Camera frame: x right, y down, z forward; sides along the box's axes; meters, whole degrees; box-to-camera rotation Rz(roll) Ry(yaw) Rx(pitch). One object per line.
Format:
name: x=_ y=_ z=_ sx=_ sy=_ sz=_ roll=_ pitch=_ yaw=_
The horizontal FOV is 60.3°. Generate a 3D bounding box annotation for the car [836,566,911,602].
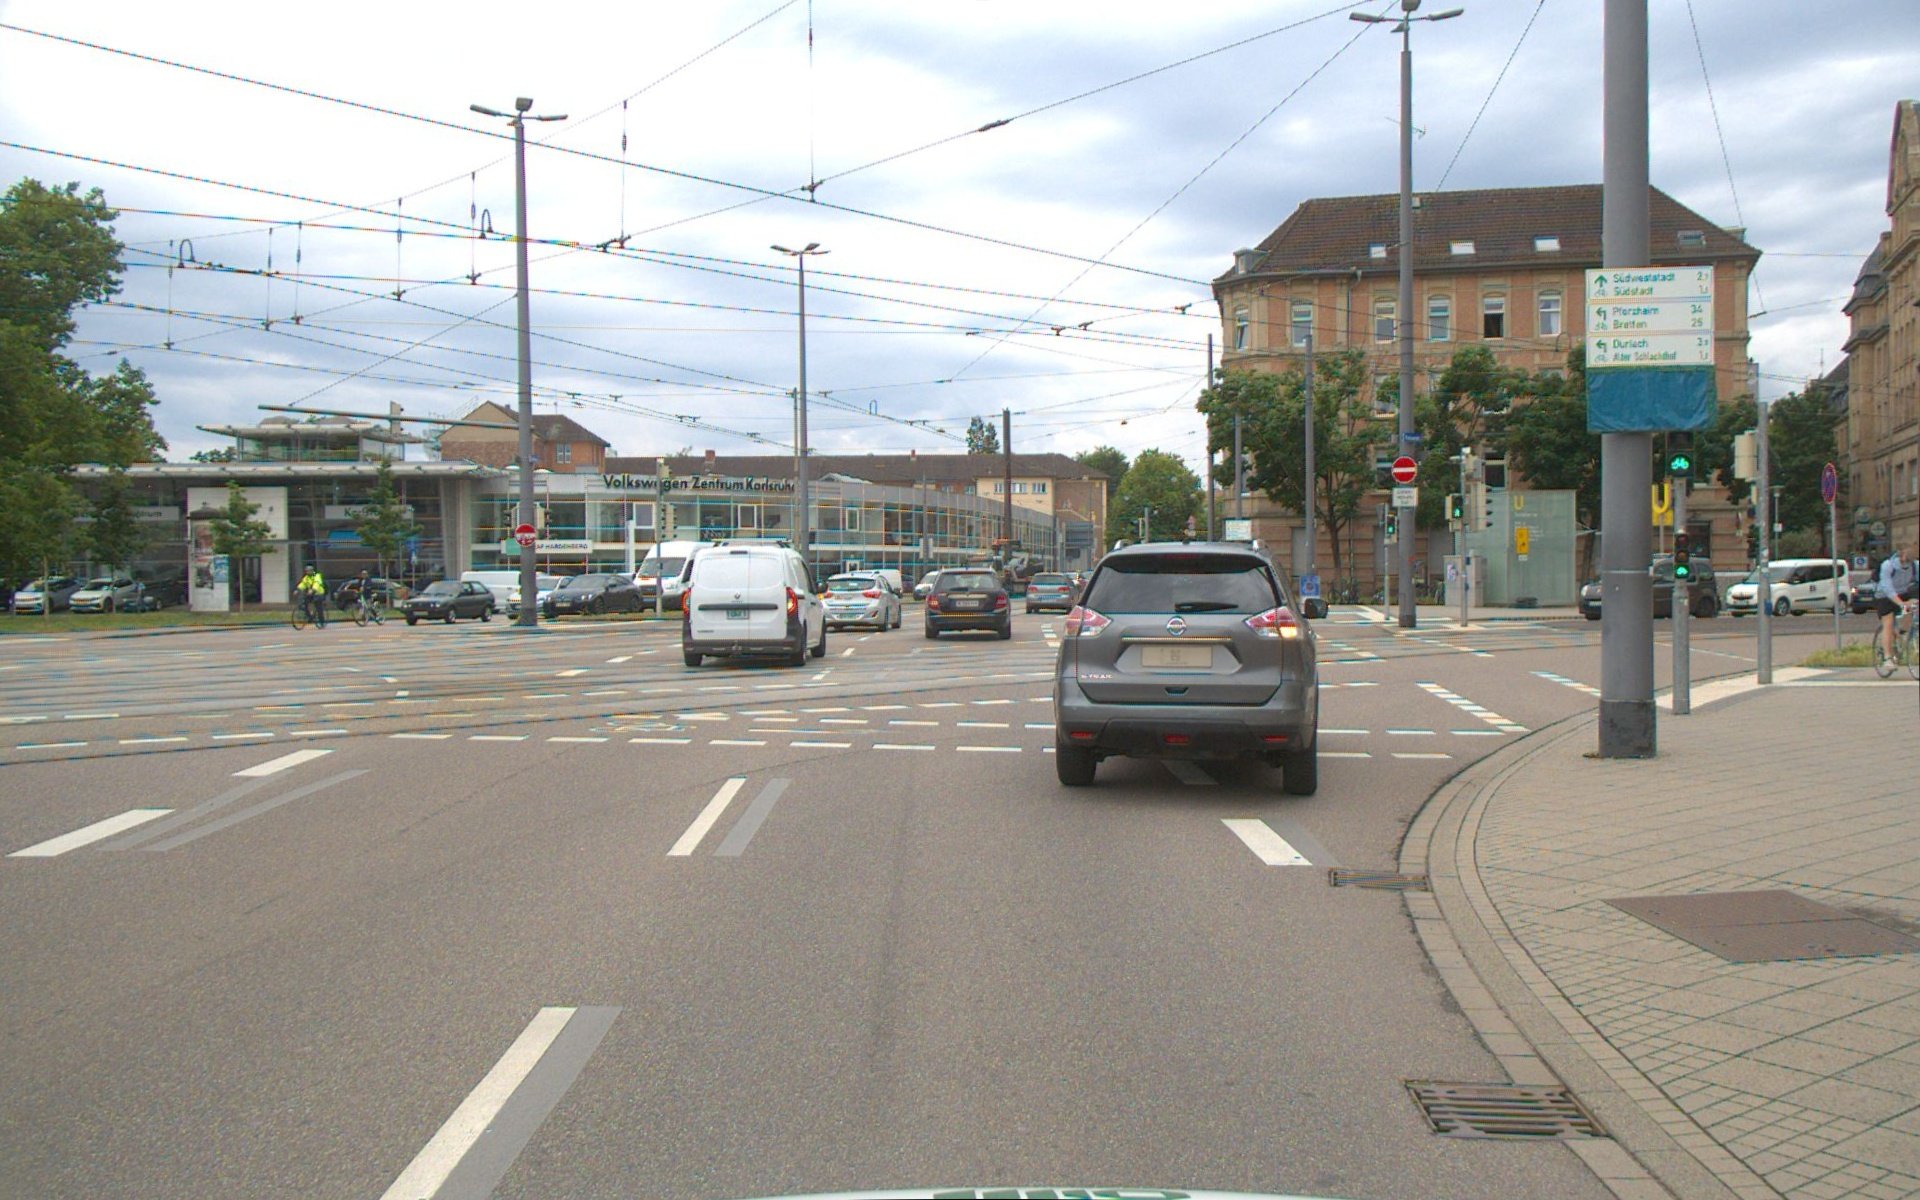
car: x=-4.659 y=-0.881 z=90.329 sx=2.112 sy=1.889 sz=5.448 roll=0 pitch=1 yaw=21

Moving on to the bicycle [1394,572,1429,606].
bicycle: x=19.079 y=-0.463 z=69.856 sx=0.938 sy=1.378 sz=3.119 roll=1 pitch=0 yaw=25

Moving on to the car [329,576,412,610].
car: x=-25.615 y=-0.307 z=72.019 sx=1.600 sy=1.445 sz=3.741 roll=0 pitch=1 yaw=14

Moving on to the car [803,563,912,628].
car: x=-2.533 y=-0.119 z=41.900 sx=1.813 sy=1.534 sz=4.004 roll=1 pitch=0 yaw=11

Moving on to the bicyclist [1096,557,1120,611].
bicyclist: x=4.799 y=-0.523 z=53.689 sx=0.673 sy=1.737 sz=0.798 roll=0 pitch=0 yaw=0

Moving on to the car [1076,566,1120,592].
car: x=10.398 y=-1.583 z=124.225 sx=1.953 sy=1.871 sz=4.522 roll=0 pitch=1 yaw=23

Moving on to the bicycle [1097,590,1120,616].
bicycle: x=4.811 y=0.080 z=53.696 sx=0.606 sy=0.807 sz=1.592 roll=0 pitch=1 yaw=0

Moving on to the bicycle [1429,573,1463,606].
bicycle: x=20.519 y=-0.442 z=69.761 sx=0.938 sy=1.378 sz=3.119 roll=1 pitch=0 yaw=25

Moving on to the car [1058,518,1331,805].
car: x=1.862 y=0.357 z=12.390 sx=1.712 sy=1.786 sz=3.927 roll=0 pitch=1 yaw=11

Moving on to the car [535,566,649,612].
car: x=-12.107 y=-0.383 z=54.707 sx=1.951 sy=1.445 sz=4.666 roll=0 pitch=1 yaw=11

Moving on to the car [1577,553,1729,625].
car: x=19.332 y=-0.317 z=46.096 sx=4.325 sy=1.933 sz=1.678 roll=0 pitch=0 yaw=-30

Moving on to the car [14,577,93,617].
car: x=-48.078 y=-0.193 z=87.824 sx=1.953 sy=2.049 sz=4.000 roll=1 pitch=0 yaw=0

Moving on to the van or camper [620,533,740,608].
van or camper: x=-10.425 y=-1.065 z=62.125 sx=2.363 sy=2.656 sz=6.057 roll=1 pitch=0 yaw=12

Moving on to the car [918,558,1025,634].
car: x=0.304 y=-0.102 z=33.920 sx=1.952 sy=1.445 sz=4.002 roll=0 pitch=1 yaw=4

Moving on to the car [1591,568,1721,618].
car: x=21.443 y=-0.228 z=50.928 sx=3.944 sy=1.467 sz=1.678 roll=0 pitch=0 yaw=-30

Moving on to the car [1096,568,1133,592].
car: x=12.209 y=-1.560 z=130.807 sx=1.952 sy=1.871 sz=4.525 roll=0 pitch=1 yaw=18

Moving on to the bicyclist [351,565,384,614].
bicyclist: x=-18.632 y=-0.336 z=52.057 sx=0.554 sy=1.534 sz=0.857 roll=0 pitch=2 yaw=16

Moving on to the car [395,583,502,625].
car: x=-16.161 y=0.116 z=52.465 sx=1.650 sy=1.268 sz=3.741 roll=0 pitch=1 yaw=11

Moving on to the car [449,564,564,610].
car: x=-21.018 y=-0.602 z=76.654 sx=4.664 sy=2.049 sz=2.123 roll=1 pitch=0 yaw=12

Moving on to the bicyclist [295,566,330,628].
bicyclist: x=-19.276 y=-0.097 z=49.244 sx=0.614 sy=1.835 sz=0.798 roll=0 pitch=1 yaw=16

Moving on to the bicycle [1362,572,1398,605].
bicycle: x=17.861 y=-0.483 z=70.257 sx=0.938 sy=1.378 sz=3.119 roll=1 pitch=0 yaw=25

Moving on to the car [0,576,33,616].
car: x=-51.124 y=-0.233 z=87.408 sx=1.953 sy=2.049 sz=4.000 roll=1 pitch=0 yaw=0

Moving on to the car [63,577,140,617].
car: x=-45.609 y=-0.187 z=87.956 sx=1.953 sy=2.049 sz=4.000 roll=1 pitch=0 yaw=0

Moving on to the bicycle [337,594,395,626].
bicycle: x=-18.670 y=0.306 z=52.047 sx=0.507 sy=0.942 sz=2.225 roll=0 pitch=1 yaw=15

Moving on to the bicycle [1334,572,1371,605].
bicycle: x=16.785 y=-0.501 z=70.630 sx=0.938 sy=1.378 sz=3.119 roll=1 pitch=0 yaw=25

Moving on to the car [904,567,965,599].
car: x=-1.490 y=-1.002 z=97.895 sx=1.953 sy=1.871 sz=4.522 roll=0 pitch=1 yaw=23

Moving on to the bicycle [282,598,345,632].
bicycle: x=-19.304 y=0.426 z=49.415 sx=0.507 sy=0.946 sz=2.225 roll=0 pitch=1 yaw=15

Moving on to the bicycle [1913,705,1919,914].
bicycle: x=4.372 y=0.877 z=5.904 sx=0.546 sy=0.863 sz=2.070 roll=0 pitch=1 yaw=-7

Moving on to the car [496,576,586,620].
car: x=-14.554 y=-0.091 z=57.651 sx=1.600 sy=1.445 sz=3.741 roll=0 pitch=1 yaw=11

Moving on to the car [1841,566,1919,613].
car: x=32.659 y=-0.358 z=57.221 sx=4.240 sy=1.561 sz=1.851 roll=-1 pitch=-1 yaw=-29

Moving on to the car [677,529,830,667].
car: x=-3.119 y=-0.057 z=25.769 sx=1.873 sy=1.974 sz=4.131 roll=0 pitch=1 yaw=0

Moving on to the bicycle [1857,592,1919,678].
bicycle: x=11.669 y=0.421 z=20.674 sx=0.658 sy=0.949 sz=1.855 roll=-3 pitch=1 yaw=31

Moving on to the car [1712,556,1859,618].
car: x=27.233 y=-0.453 z=54.517 sx=5.027 sy=1.949 sz=1.851 roll=-1 pitch=1 yaw=-29

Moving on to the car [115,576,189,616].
car: x=-42.820 y=-0.247 z=87.768 sx=1.953 sy=2.049 sz=4.000 roll=1 pitch=0 yaw=0

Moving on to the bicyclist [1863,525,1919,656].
bicyclist: x=11.694 y=-0.129 z=20.634 sx=0.678 sy=1.587 sz=0.924 roll=-2 pitch=1 yaw=31

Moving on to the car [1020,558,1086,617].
car: x=3.442 y=-0.458 z=60.750 sx=1.951 sy=2.049 sz=4.004 roll=1 pitch=0 yaw=10

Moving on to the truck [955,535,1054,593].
truck: x=2.997 y=-2.279 z=107.381 sx=2.739 sy=3.611 sz=9.214 roll=1 pitch=0 yaw=26

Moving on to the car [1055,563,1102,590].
car: x=8.500 y=-1.682 z=118.366 sx=1.953 sy=1.871 sz=4.522 roll=0 pitch=1 yaw=23
